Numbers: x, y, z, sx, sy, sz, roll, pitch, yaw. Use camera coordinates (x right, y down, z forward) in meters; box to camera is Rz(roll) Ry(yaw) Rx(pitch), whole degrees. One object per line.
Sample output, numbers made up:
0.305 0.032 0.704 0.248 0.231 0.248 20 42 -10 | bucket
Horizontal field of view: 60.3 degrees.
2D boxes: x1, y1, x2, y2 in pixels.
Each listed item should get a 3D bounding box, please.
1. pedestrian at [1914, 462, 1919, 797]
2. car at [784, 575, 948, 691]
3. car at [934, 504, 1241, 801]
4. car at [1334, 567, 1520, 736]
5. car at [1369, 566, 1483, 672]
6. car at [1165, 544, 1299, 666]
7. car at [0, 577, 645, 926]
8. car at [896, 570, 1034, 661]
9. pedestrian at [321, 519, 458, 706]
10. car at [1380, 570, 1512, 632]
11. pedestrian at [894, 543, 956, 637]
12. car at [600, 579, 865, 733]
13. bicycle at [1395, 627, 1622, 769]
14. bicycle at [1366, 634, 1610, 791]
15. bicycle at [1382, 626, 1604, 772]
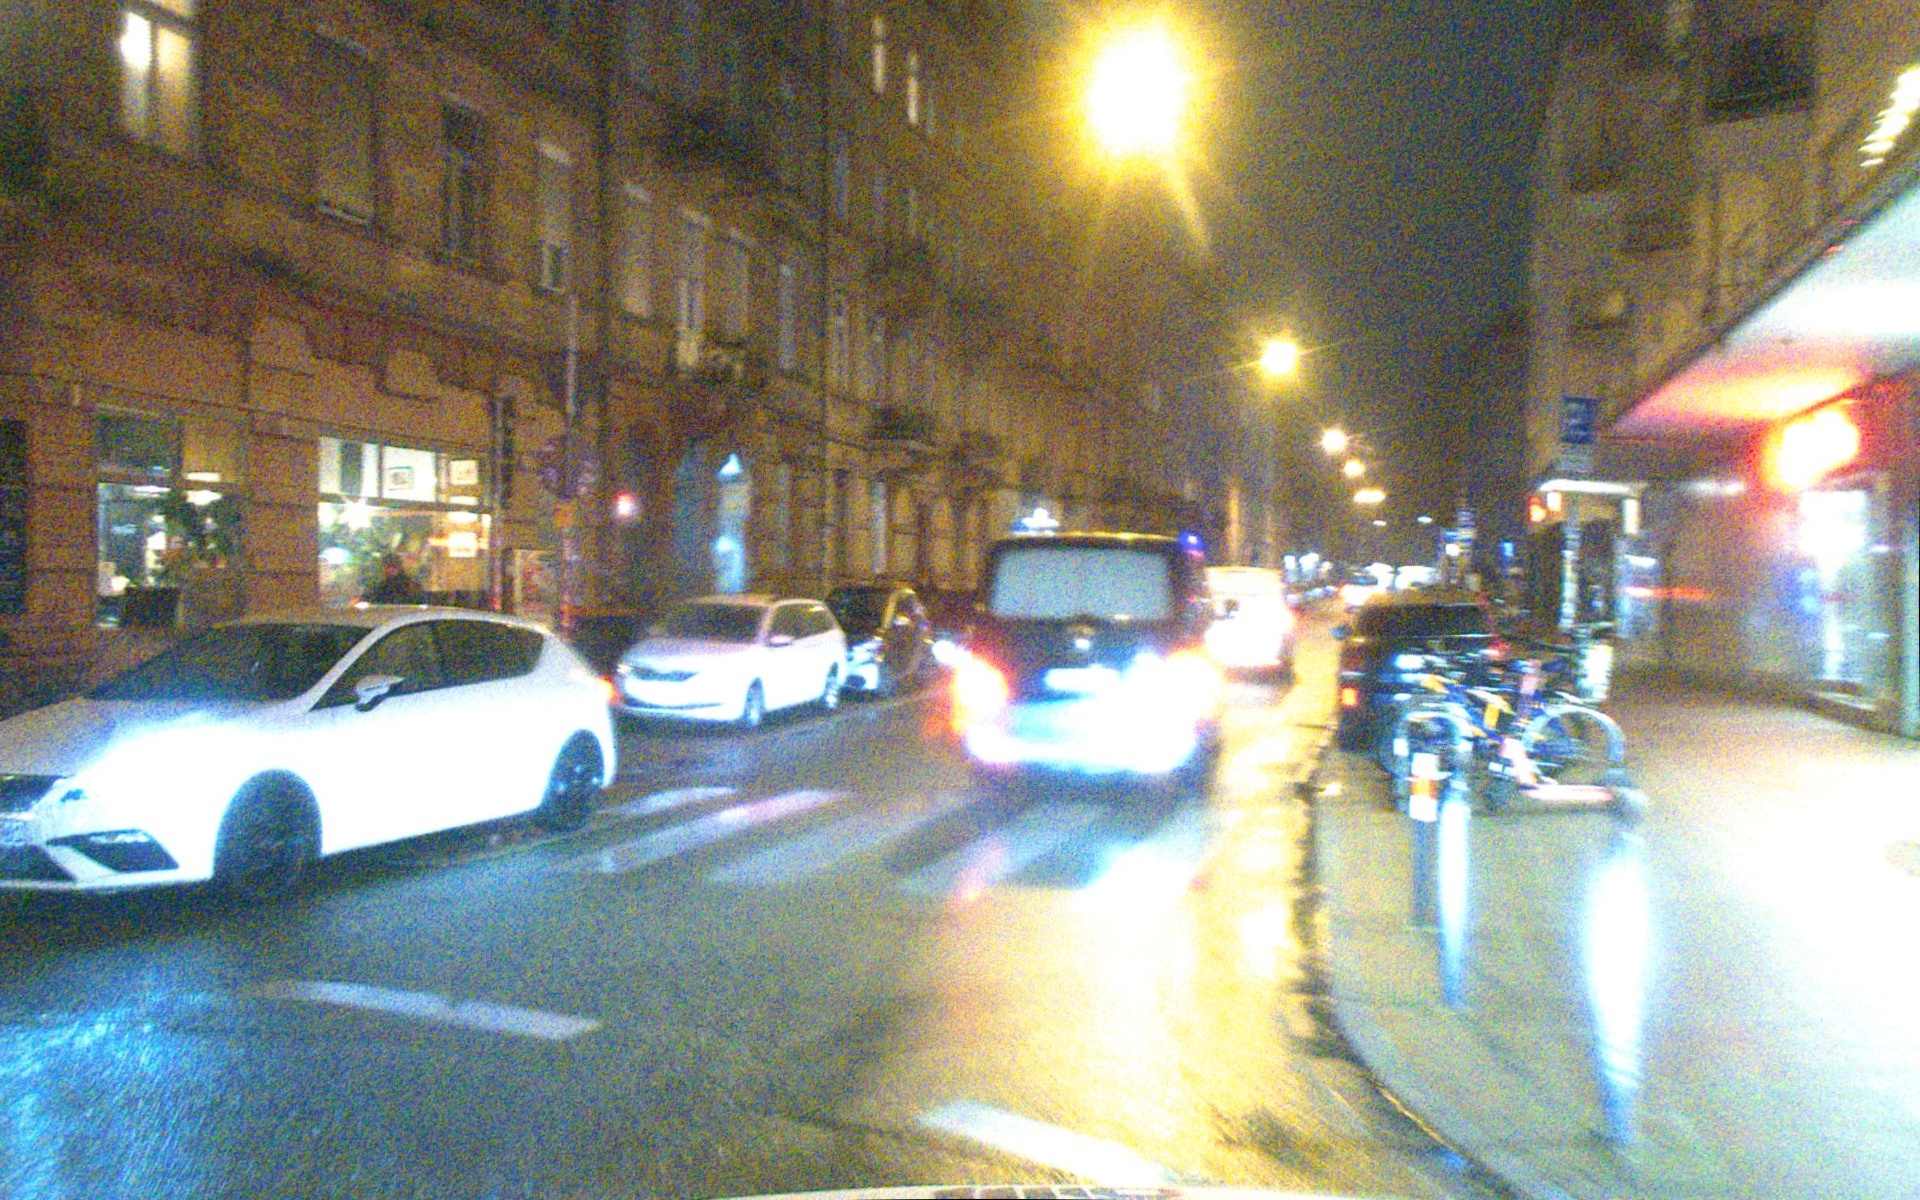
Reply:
6.677 0.216 10.296 1.031 2.247 0.971 -1 0 16 | pedestrian
-1.314 0.430 24.134 1.553 1.536 2.789 1 1 16 | car
1.254 0.310 13.774 2.077 2.026 4.605 1 1 10 | car
5.085 0.493 18.254 1.716 1.593 4.158 2 0 14 | car
7.955 0.294 28.451 1.716 1.636 3.993 2 0 14 | car
4.927 0.017 29.451 2.077 1.955 4.831 1 2 12 | car
-3.514 0.626 9.203 1.531 1.452 4.070 -1 1 21 | car
0.149 0.229 29.477 1.553 1.474 3.505 1 1 16 | car
-5.741 0.112 16.674 0.787 1.796 1.016 2 1 22 | pedestrian
16.462 0.044 56.179 3.905 2.049 2.000 0 -1 -1 | car
-0.728 -0.221 34.516 1.010 1.897 0.978 2 1 15 | pedestrian
-2.552 0.565 19.548 1.553 1.488 4.027 4 2 16 | car
4.452 0.783 13.511 1.724 1.098 0.436 0 1 14 | bicycle
4.012 0.843 12.659 1.745 1.144 0.436 0 1 14 | bicycle
4.540 0.848 14.164 1.724 1.144 0.436 -3 0 14 | bicycle
